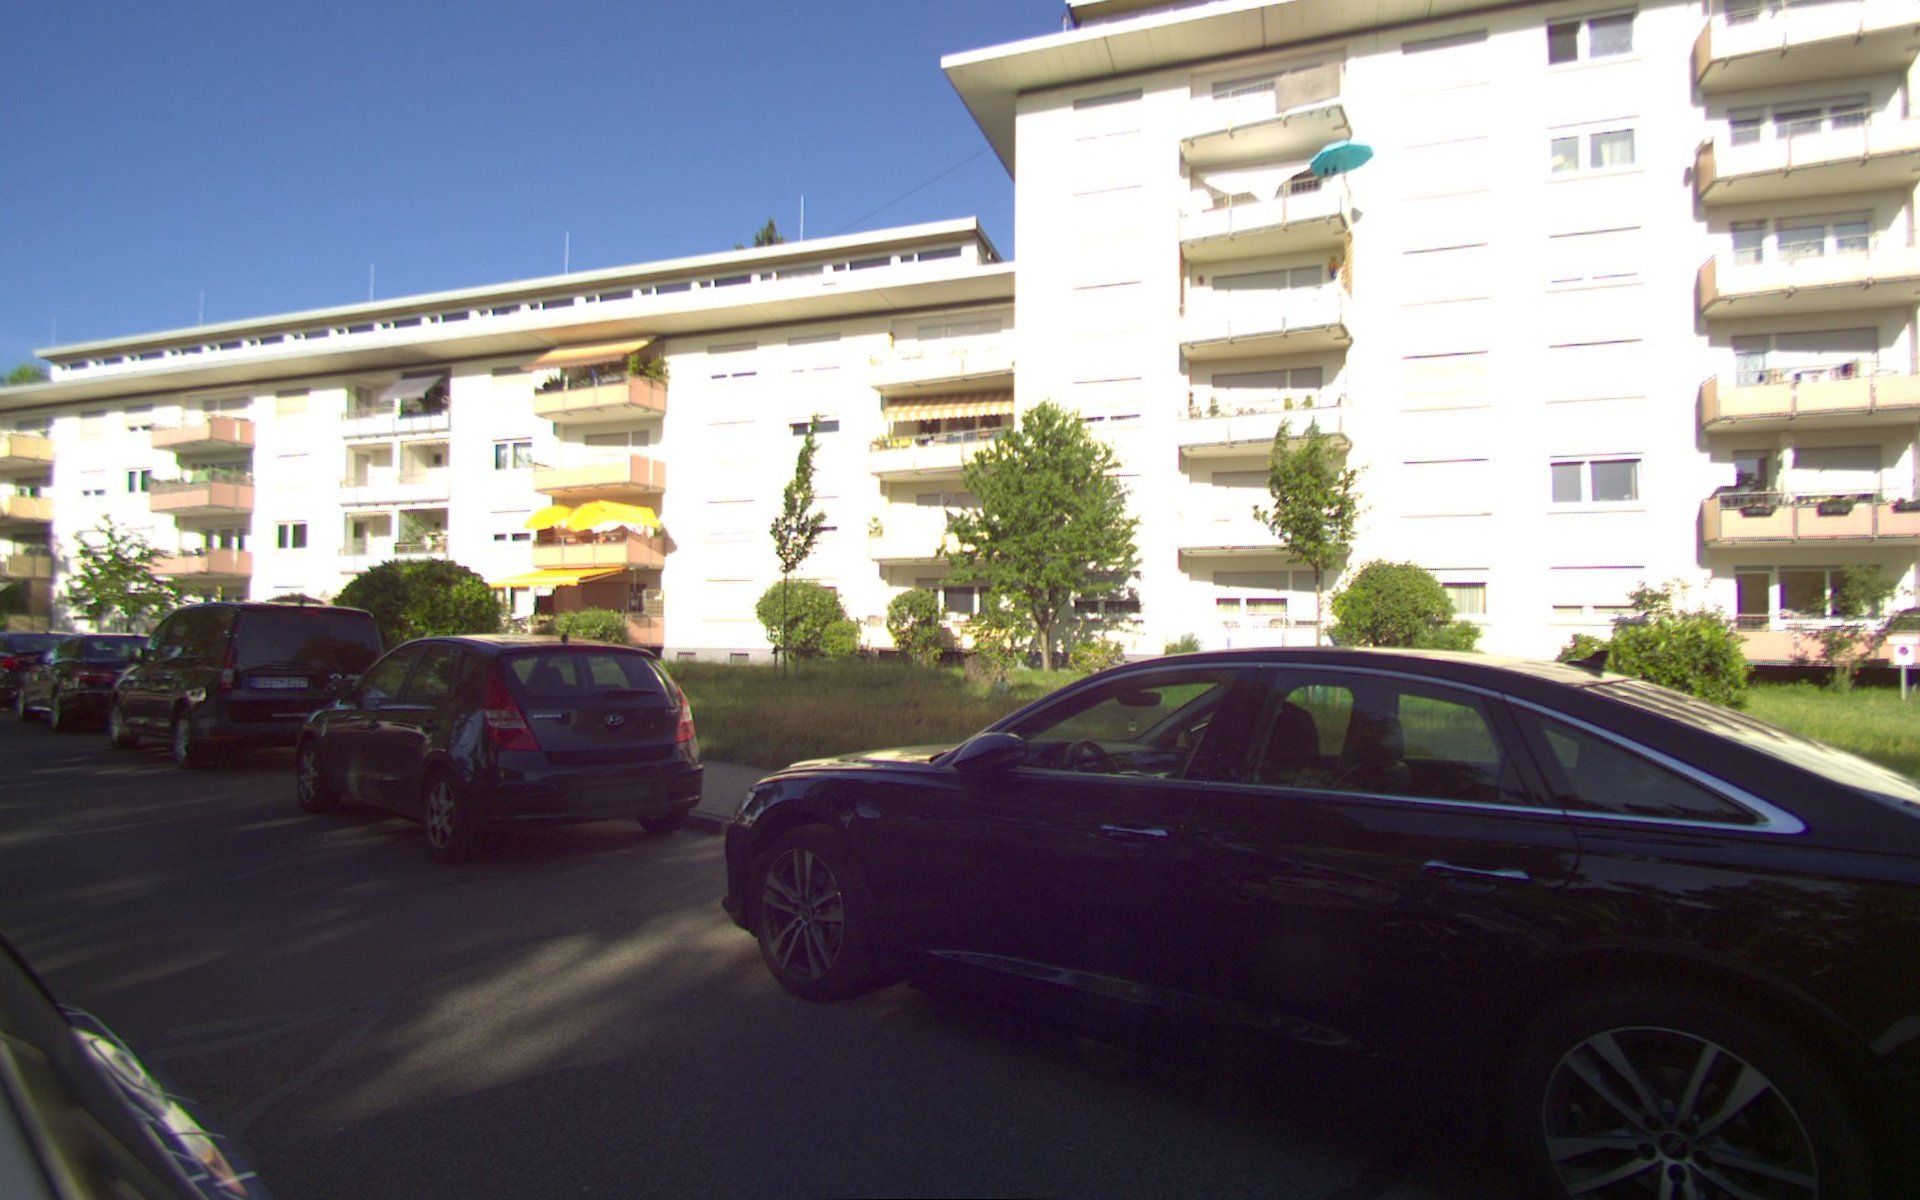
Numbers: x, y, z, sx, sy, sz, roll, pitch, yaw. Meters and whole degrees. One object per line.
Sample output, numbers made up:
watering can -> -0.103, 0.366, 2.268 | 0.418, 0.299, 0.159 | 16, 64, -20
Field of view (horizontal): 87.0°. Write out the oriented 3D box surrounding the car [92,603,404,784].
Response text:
car -> -8.793, 1.020, 12.323 | 4.884, 1.794, 1.821 | -1, -4, 40

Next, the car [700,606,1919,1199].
car -> 1.215, 0.845, 3.590 | 4.677, 1.475, 1.710 | -2, -5, 40

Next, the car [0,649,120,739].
car -> -17.960, 1.721, 19.383 | 4.793, 1.493, 1.822 | -1, -4, 38

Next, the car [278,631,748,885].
car -> -3.634, 1.024, 7.904 | 4.017, 1.465, 1.820 | -2, -5, 42

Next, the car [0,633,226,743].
car -> -13.479, 1.325, 15.993 | 4.569, 1.493, 1.822 | -1, -6, 39
